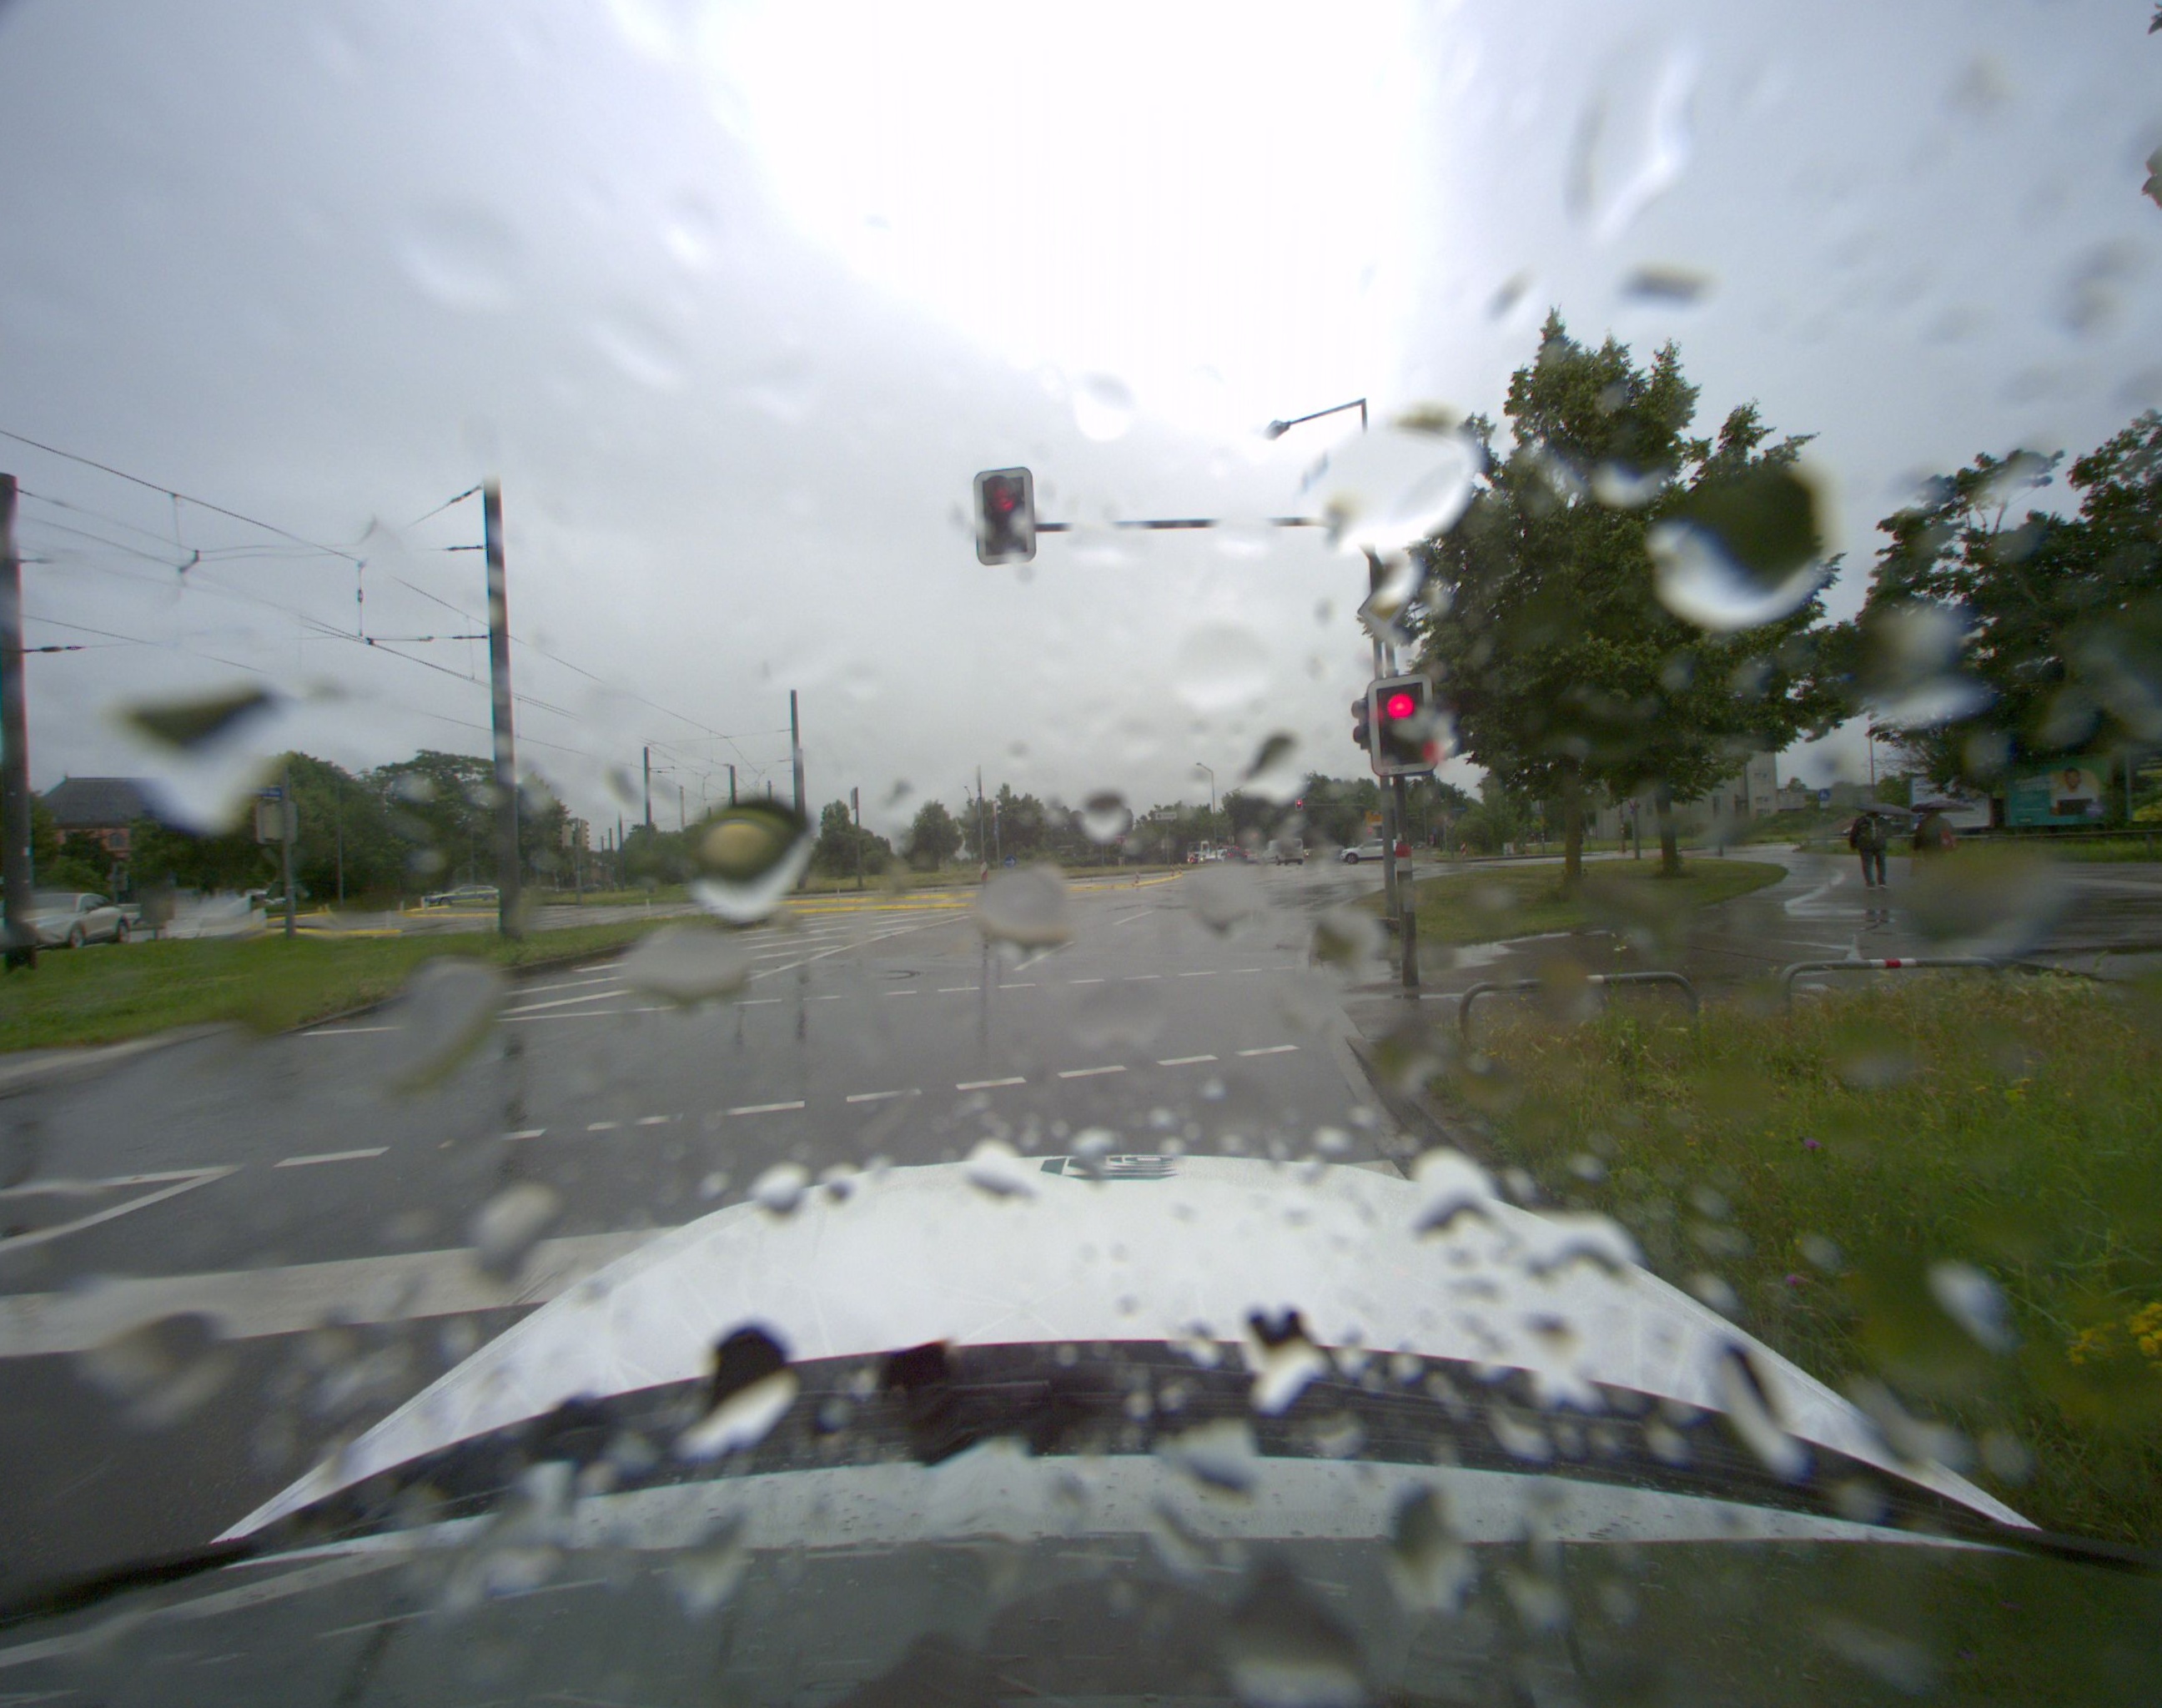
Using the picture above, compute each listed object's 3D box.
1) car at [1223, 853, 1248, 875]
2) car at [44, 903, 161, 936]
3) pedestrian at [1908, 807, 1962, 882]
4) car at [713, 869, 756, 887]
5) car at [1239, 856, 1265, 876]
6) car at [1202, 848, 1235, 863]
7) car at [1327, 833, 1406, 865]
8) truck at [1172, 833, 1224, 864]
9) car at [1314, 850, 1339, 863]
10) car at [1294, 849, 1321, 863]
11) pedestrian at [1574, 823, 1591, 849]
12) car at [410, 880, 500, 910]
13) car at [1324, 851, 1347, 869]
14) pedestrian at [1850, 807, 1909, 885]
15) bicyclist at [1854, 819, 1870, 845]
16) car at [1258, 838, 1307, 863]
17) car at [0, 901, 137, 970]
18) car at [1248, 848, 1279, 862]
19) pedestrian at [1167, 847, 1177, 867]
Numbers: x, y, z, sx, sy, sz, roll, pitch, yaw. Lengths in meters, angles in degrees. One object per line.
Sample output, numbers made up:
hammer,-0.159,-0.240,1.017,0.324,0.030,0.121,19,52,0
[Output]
car,13.571,0.889,71.257,1.980,1.851,4.791,-1,-1,12
car,-54.572,3.617,45.489,1.602,1.454,4.013,-3,0,35
pedestrian,17.275,-0.186,16.471,0.685,1.461,0.567,-3,-2,-34
car,-36.863,2.506,86.727,1.660,1.816,4.025,-1,-1,31
car,16.160,1.133,76.935,1.978,1.851,4.797,-1,-1,17
car,16.187,0.160,95.667,1.779,1.662,4.159,-1,-1,43
car,18.895,-0.327,53.920,4.717,1.851,2.011,-3,0,23
truck,10.730,-0.414,73.892,2.439,2.686,8.105,-1,-1,25
car,33.750,0.352,111.945,1.779,1.662,4.024,-1,-1,43
car,29.711,0.284,106.829,1.779,1.662,4.024,-1,-1,43
pedestrian,36.327,-1.283,58.966,0.811,1.868,0.670,0,-1,9
car,-46.136,2.989,60.113,1.974,1.851,4.806,-3,0,32
car,22.082,0.492,70.773,1.606,1.454,4.003,-2,0,14
pedestrian,15.935,-0.153,16.257,0.625,1.522,0.733,0,-1,-36
bicyclist,53.504,-1.501,55.775,0.585,1.742,0.498,-1,-1,13
car,15.563,-0.209,63.111,1.993,1.851,4.761,0,-1,-8
car,-26.347,2.041,20.958,1.630,1.454,4.069,-2,0,-34
car,21.825,0.160,97.329,1.779,1.662,4.024,-1,-1,43
pedestrian,6.068,0.225,54.356,0.448,1.304,0.489,-3,-1,40
